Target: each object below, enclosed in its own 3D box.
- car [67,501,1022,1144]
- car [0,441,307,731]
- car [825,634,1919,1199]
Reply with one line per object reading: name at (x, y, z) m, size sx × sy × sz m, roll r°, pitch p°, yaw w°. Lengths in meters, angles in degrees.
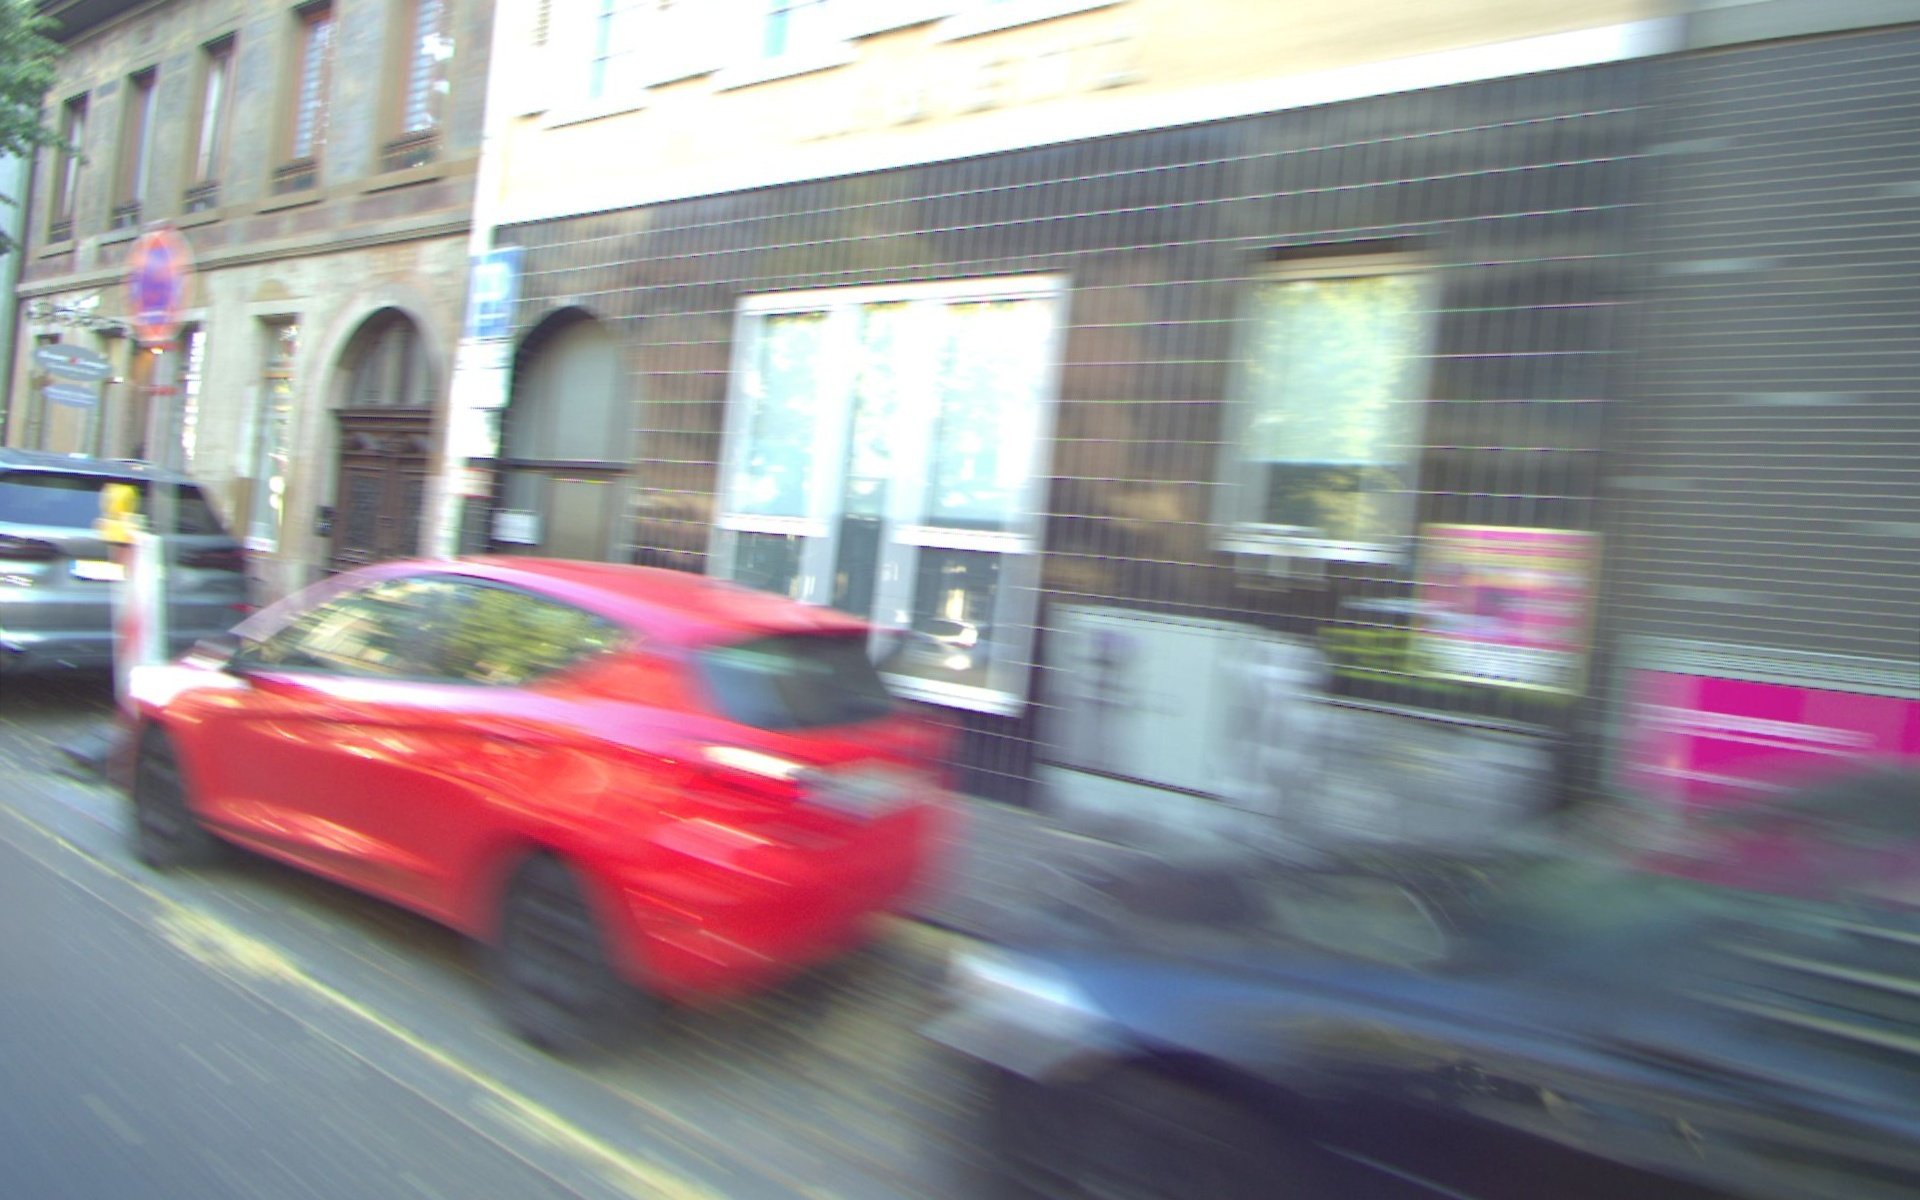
car at (-1.892, 0.528, 4.336) m, size 3.833 × 1.507 × 1.731 m, roll 7°, pitch 2°, yaw 29°
car at (-7.433, -0.283, 7.889) m, size 4.633 × 1.760 × 2.039 m, roll 7°, pitch 2°, yaw 32°
car at (2.099, 1.027, 2.165) m, size 4.348 × 1.409 × 1.953 m, roll 7°, pitch 2°, yaw 28°
